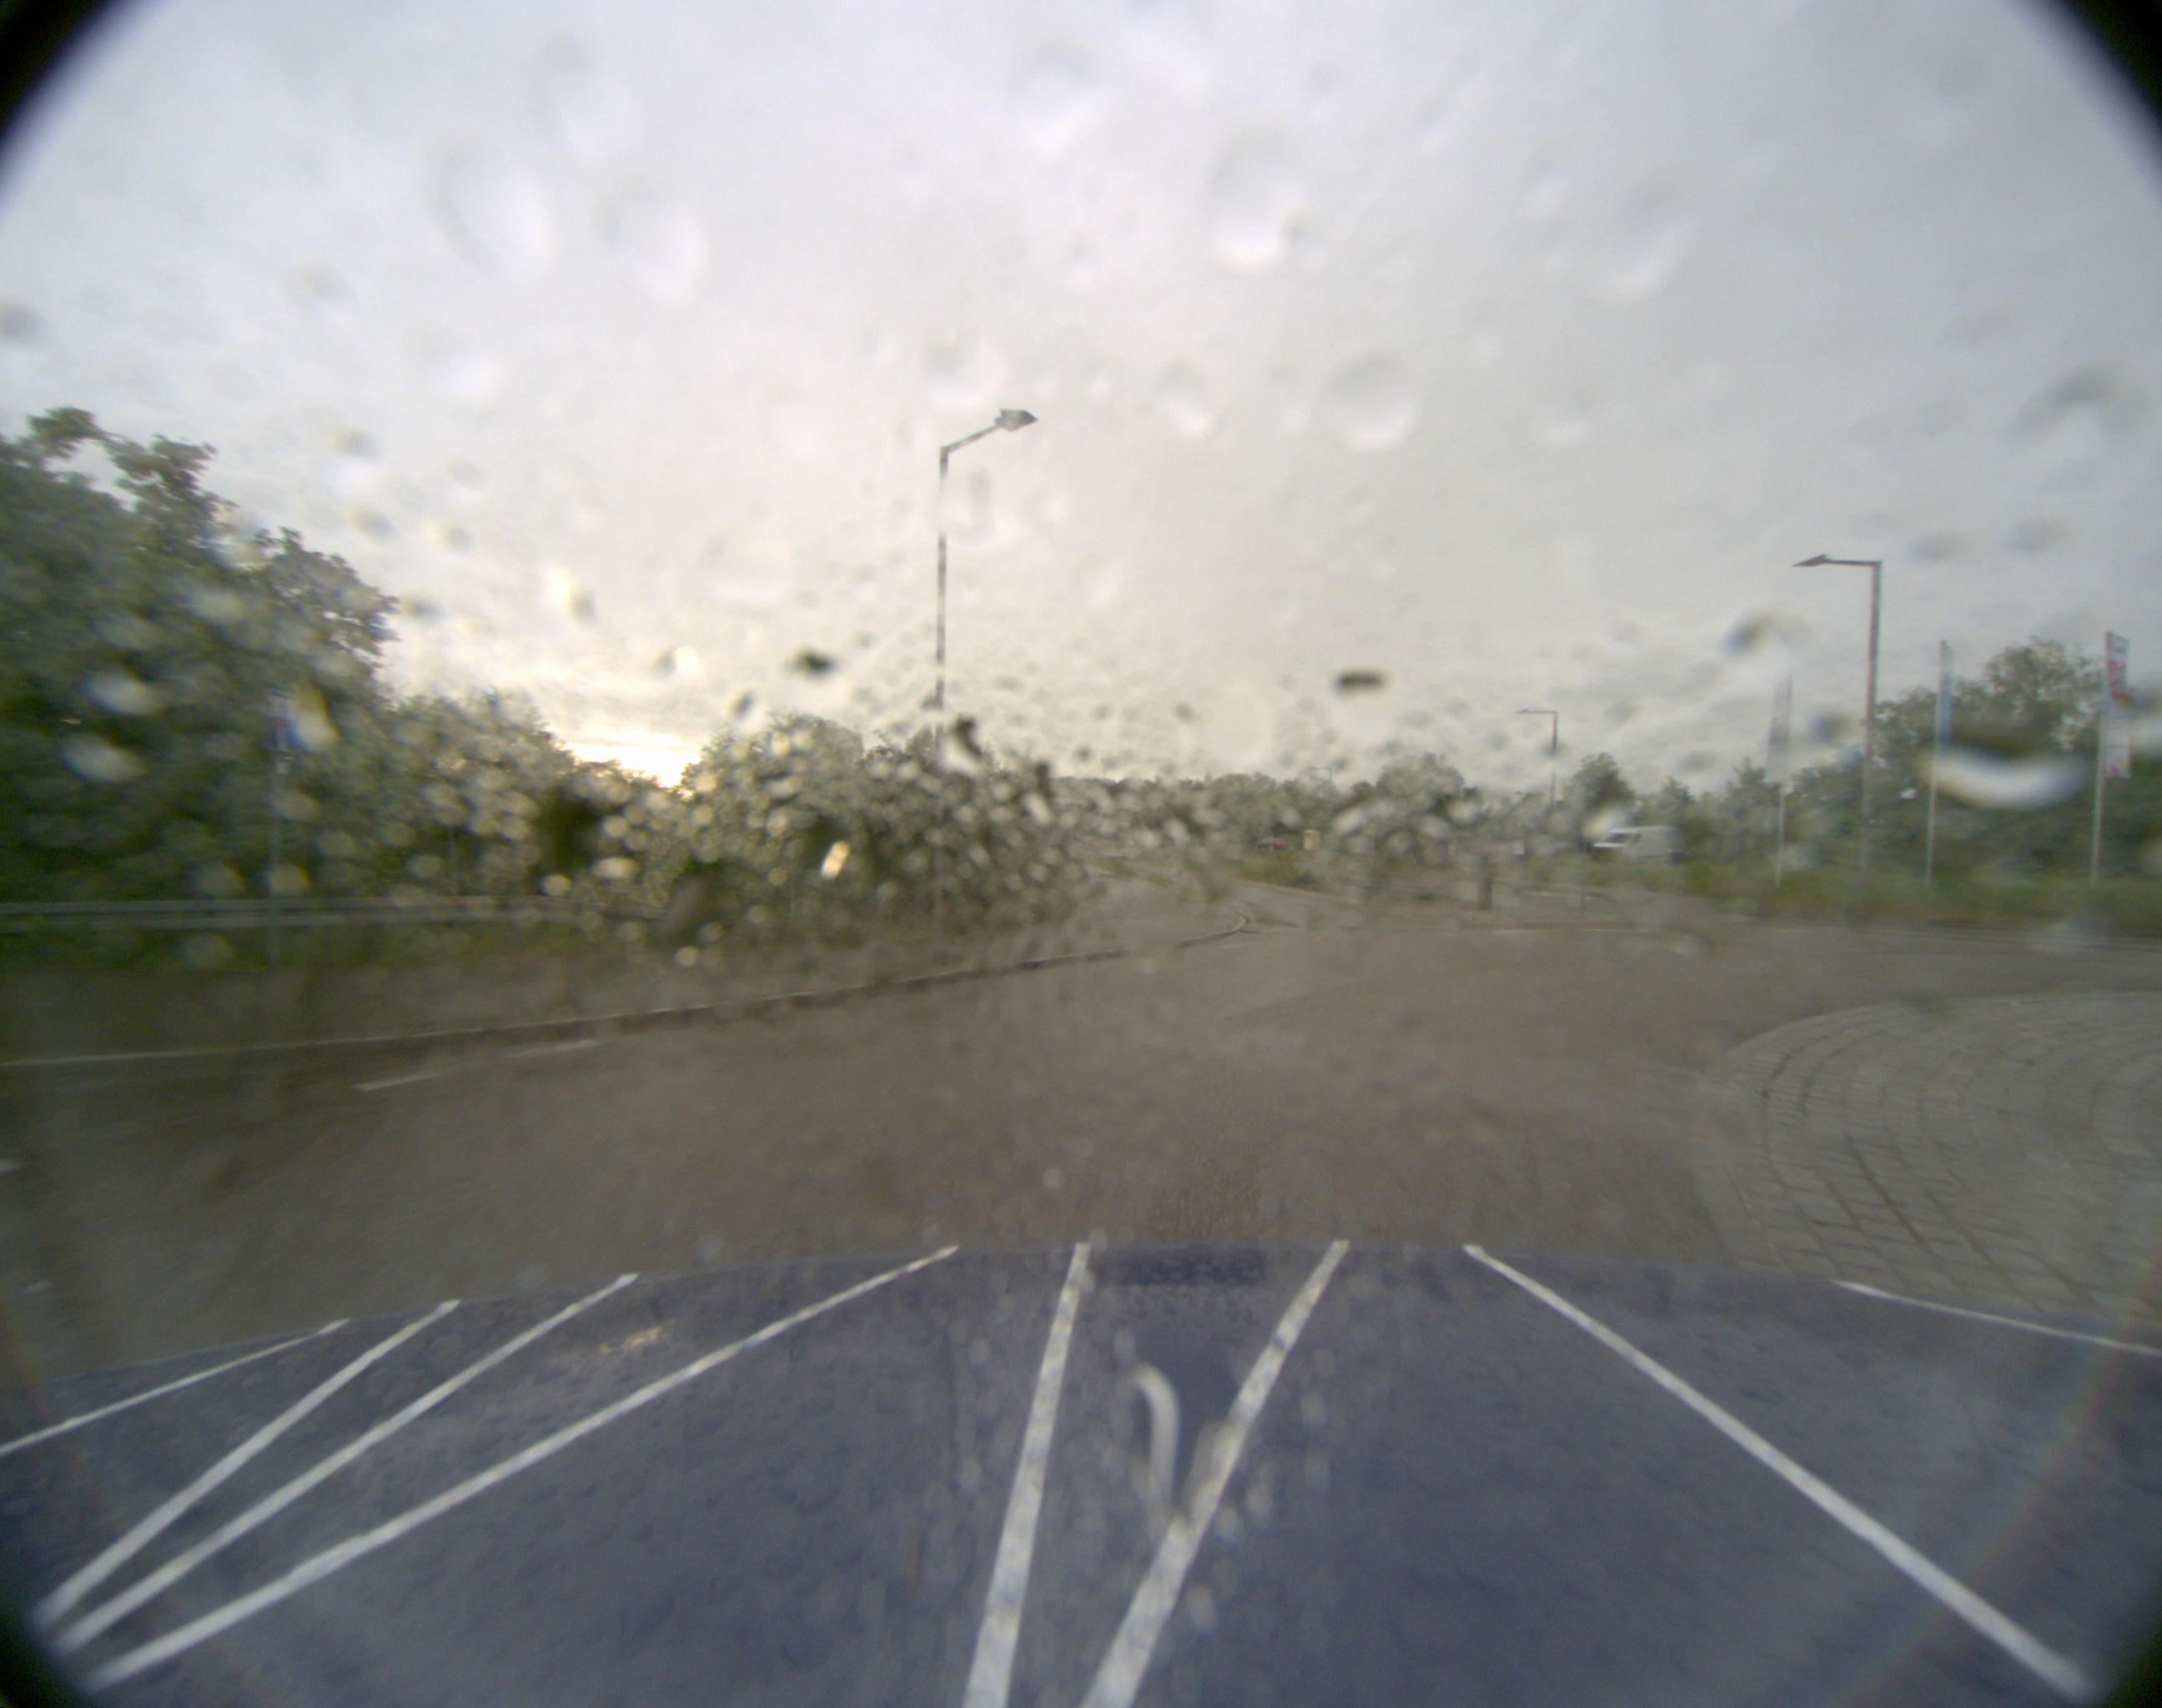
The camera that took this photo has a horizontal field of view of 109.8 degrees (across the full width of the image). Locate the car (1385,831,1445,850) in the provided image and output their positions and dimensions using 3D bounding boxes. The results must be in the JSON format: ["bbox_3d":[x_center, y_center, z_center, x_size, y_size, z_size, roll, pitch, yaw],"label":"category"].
[{"bbox_3d":[29.904,-1.232,68.102,4.723,1.684,2.002,-1,2,-14],"label":"car"}]

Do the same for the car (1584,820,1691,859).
[{"bbox_3d":[36.744,-0.996,50.148,6.581,2.385,2.135,-1,4,-17],"label":"car"}]

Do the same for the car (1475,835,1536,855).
[{"bbox_3d":[33.803,-0.725,60.588,4.002,1.461,1.845,0,2,-13],"label":"car"}]

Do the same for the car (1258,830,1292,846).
[{"bbox_3d":[21.566,-1.761,84.601,1.697,1.559,4.535,-3,1,-14],"label":"car"}]

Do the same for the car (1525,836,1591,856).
[{"bbox_3d":[34.636,-0.610,55.171,4.001,1.356,1.650,-2,2,-12],"label":"car"}]

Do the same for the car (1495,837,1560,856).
[{"bbox_3d":[33.712,-0.602,57.356,4.001,1.356,1.845,0,2,-12],"label":"car"}]
